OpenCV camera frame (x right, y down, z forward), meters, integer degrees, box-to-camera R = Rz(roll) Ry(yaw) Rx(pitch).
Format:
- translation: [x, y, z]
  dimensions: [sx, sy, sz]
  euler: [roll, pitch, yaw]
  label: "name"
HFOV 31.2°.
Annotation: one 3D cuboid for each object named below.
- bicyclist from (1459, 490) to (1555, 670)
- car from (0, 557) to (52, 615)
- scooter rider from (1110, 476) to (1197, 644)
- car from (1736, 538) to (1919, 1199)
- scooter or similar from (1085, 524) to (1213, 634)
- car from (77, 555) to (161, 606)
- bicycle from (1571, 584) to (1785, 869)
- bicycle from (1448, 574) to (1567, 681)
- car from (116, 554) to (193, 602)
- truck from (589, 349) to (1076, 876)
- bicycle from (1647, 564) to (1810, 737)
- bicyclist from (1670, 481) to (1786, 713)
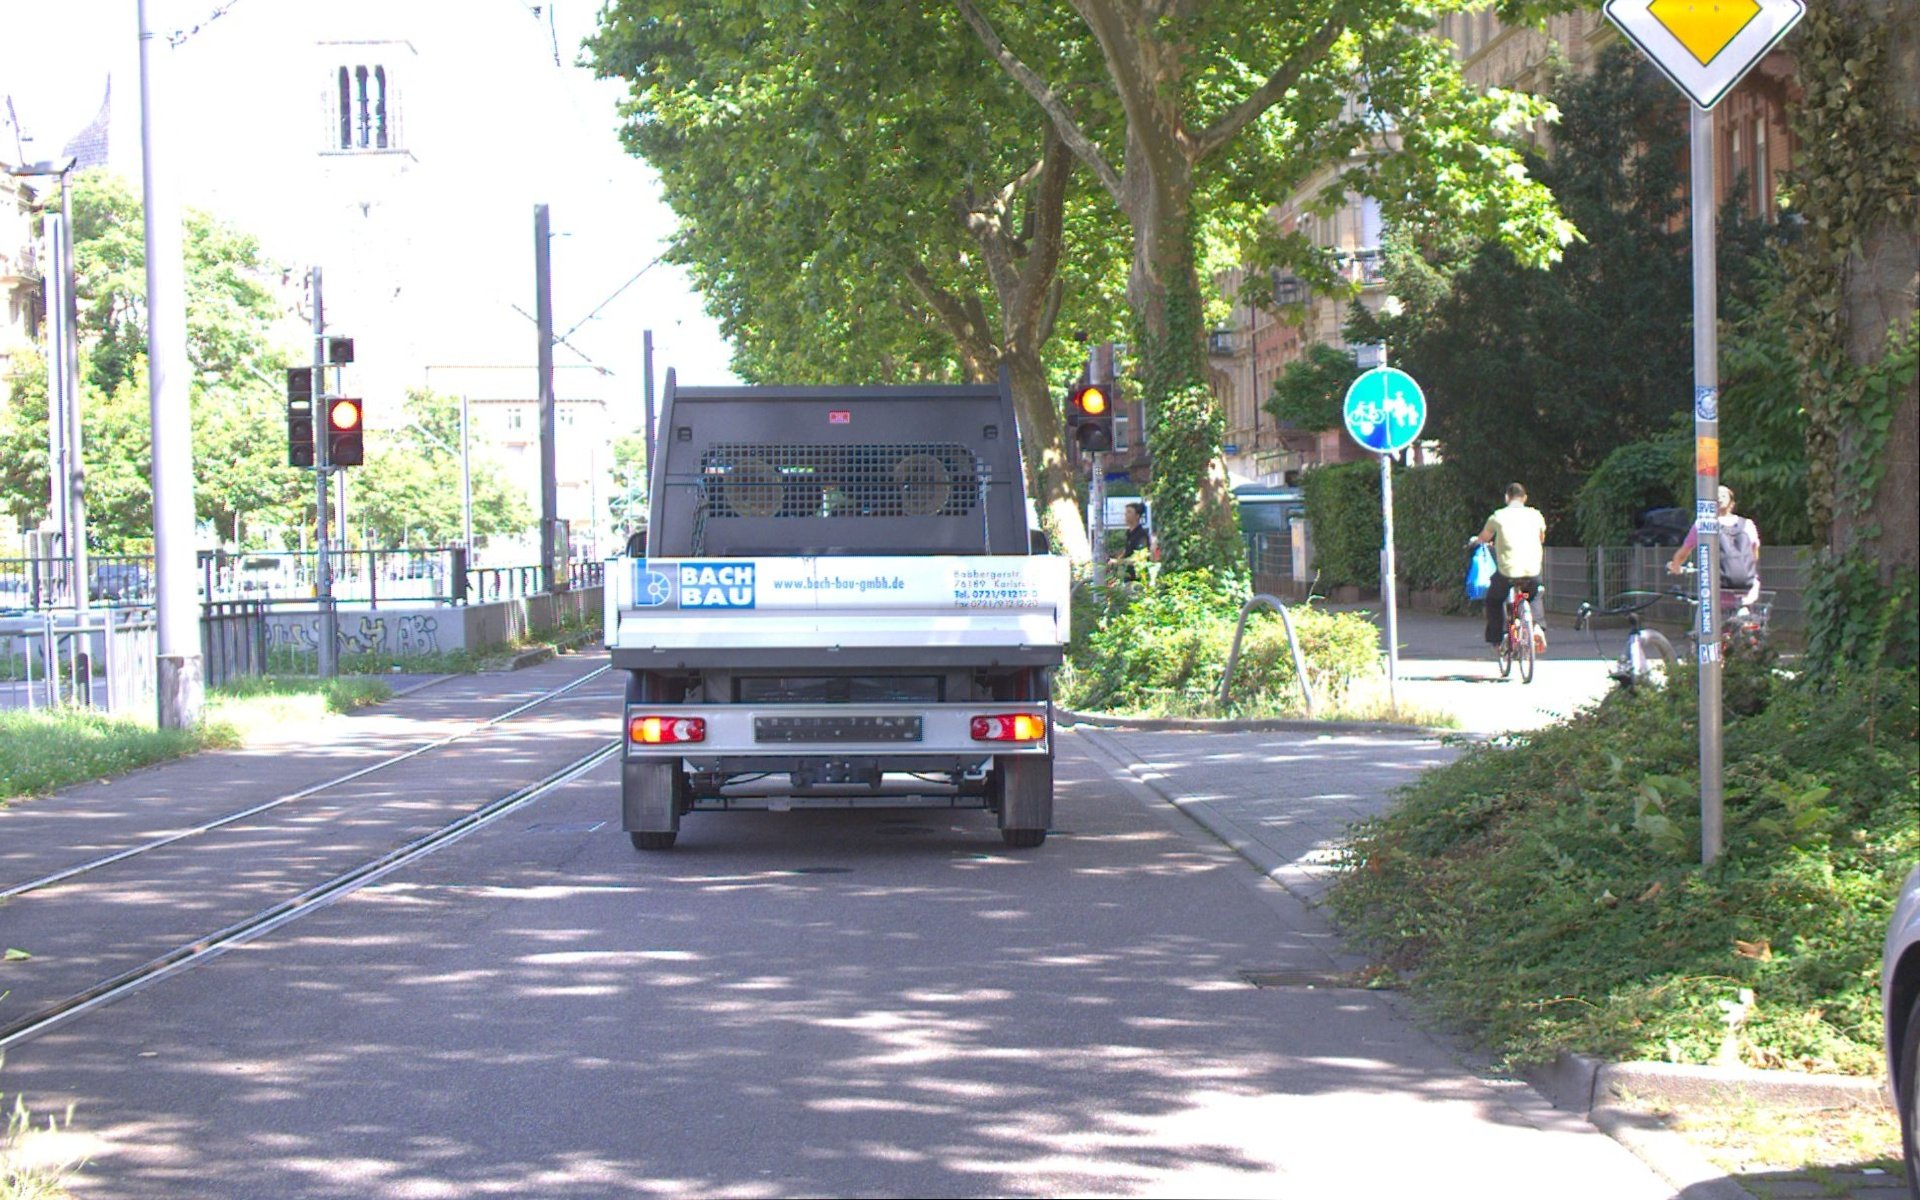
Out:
- translation: [4.853, -0.181, 30.522]
  dimensions: [0.680, 1.558, 0.777]
  euler: [-1, 1, -1]
  label: "bicyclist"
- translation: [-25.449, -0.392, 91.880]
  dimensions: [1.770, 1.493, 4.001]
  euler: [-1, 1, -8]
  label: "car"
- translation: [2.170, -0.447, 38.488]
  dimensions: [0.668, 1.860, 0.662]
  euler: [-1, 1, 42]
  label: "scooter rider"
- translation: [2.843, 0.635, 5.387]
  dimensions: [1.833, 1.503, 4.493]
  euler: [-2, 1, -5]
  label: "car"
- translation: [2.115, -0.230, 38.548]
  dimensions: [1.269, 1.200, 0.656]
  euler: [-1, 1, 42]
  label: "scooter or similar"
- translation: [-25.773, -0.613, 105.416]
  dimensions: [1.770, 1.493, 4.001]
  euler: [-1, 1, -3]
  label: "car"
- translation: [3.057, 0.505, 14.544]
  dimensions: [0.421, 1.101, 1.614]
  euler: [-1, 1, 28]
  label: "bicycle"
- translation: [4.859, 0.232, 30.649]
  dimensions: [0.675, 0.878, 2.163]
  euler: [-1, 1, -1]
  label: "bicycle"
- translation: [-26.467, -0.729, 113.083]
  dimensions: [1.770, 1.493, 4.001]
  euler: [-1, 1, -3]
  label: "car"
- translation: [-0.606, 0.019, 17.447]
  dimensions: [2.138, 2.311, 4.402]
  euler: [1, 1, -1]
  label: "truck"
- translation: [5.293, 0.319, 23.800]
  dimensions: [0.565, 1.108, 2.310]
  euler: [-1, 1, -1]
  label: "bicycle"
- translation: [5.299, -0.025, 23.737]
  dimensions: [0.638, 1.568, 0.579]
  euler: [-1, 1, -1]
  label: "bicyclist"
